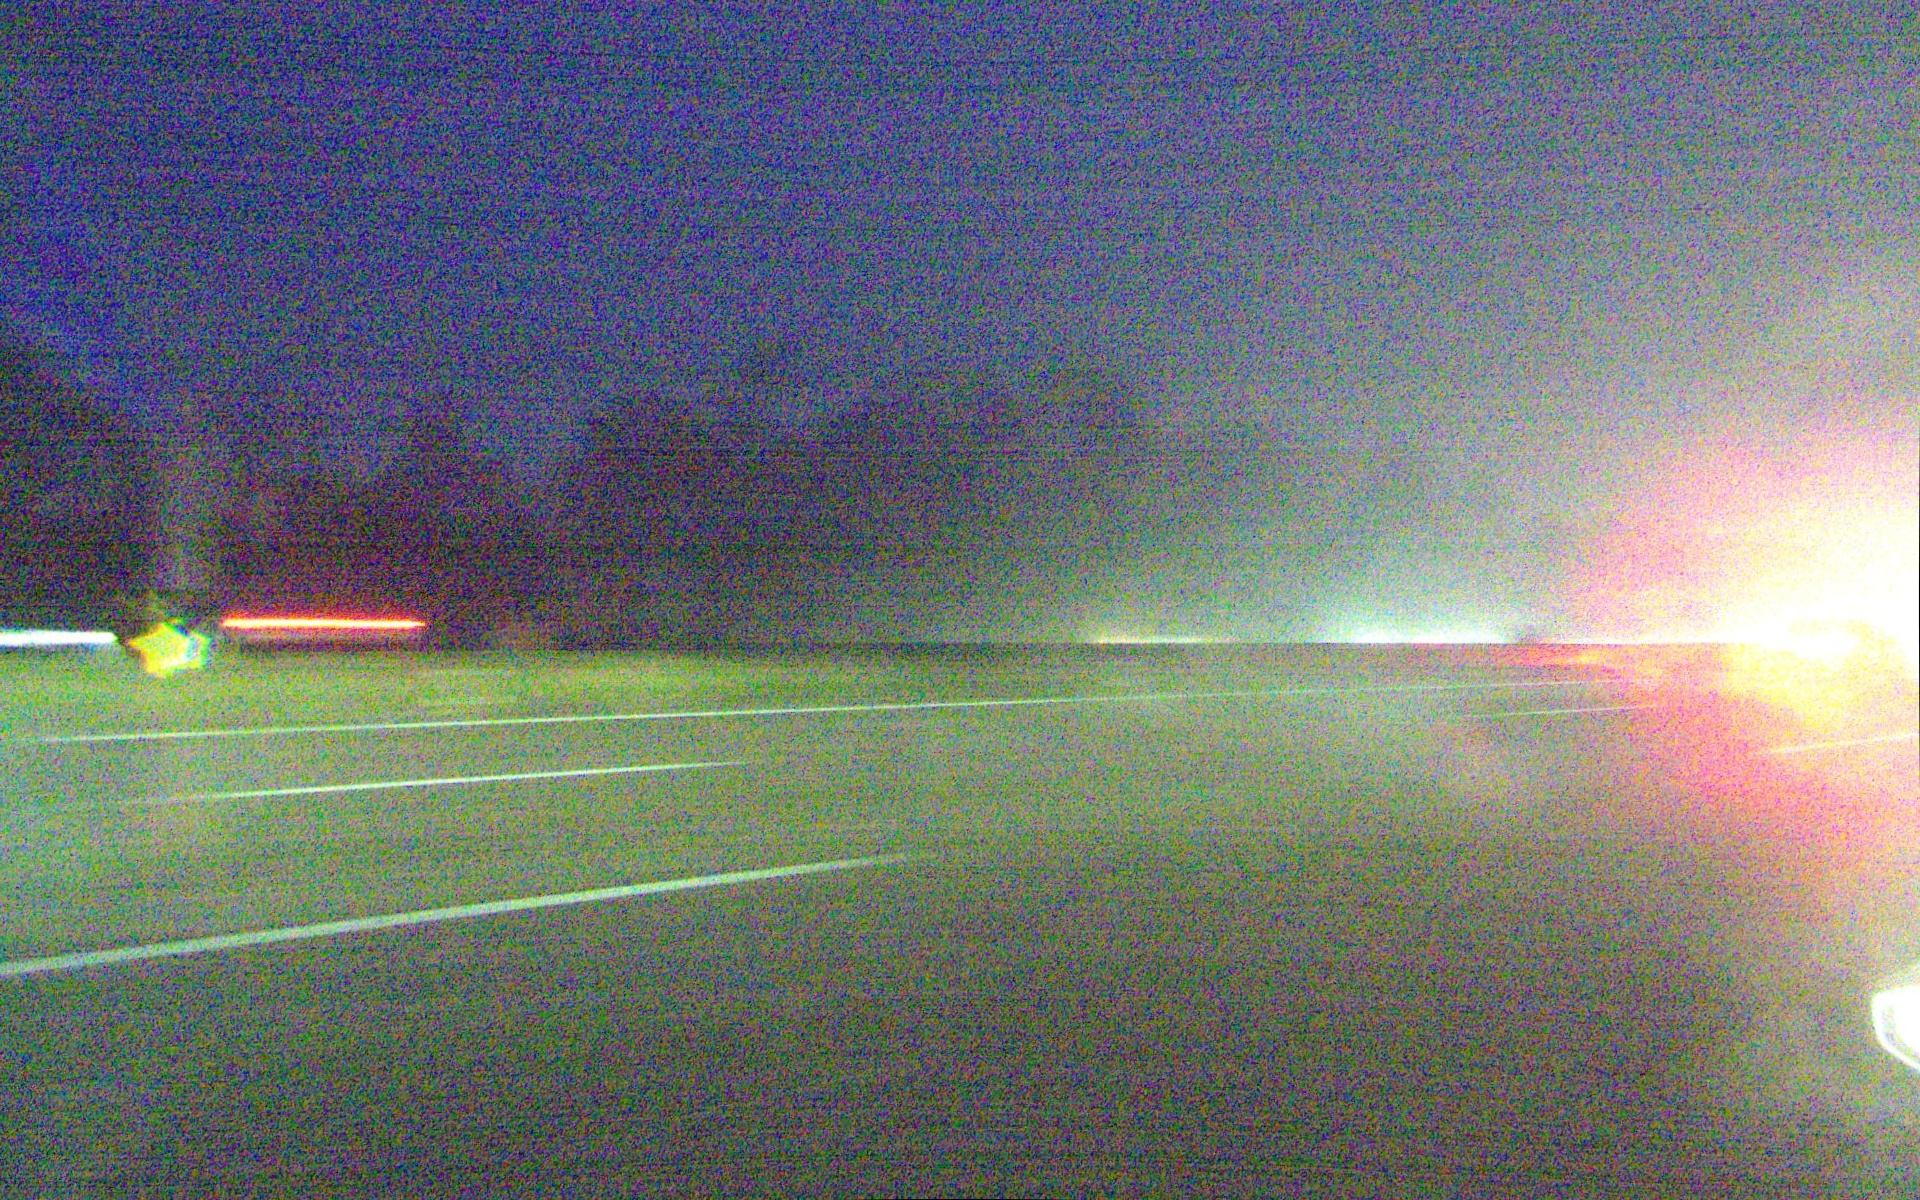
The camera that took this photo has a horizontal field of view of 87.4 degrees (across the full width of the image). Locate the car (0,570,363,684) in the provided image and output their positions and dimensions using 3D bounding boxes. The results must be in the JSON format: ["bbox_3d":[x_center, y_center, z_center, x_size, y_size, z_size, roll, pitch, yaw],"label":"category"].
[{"bbox_3d":[-12.043,0.429,15.913,4.411,1.578,1.870,2,0,-32],"label":"car"}]

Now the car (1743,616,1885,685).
[{"bbox_3d":[22.202,1.281,26.084,3.963,1.617,1.979,2,0,-37],"label":"car"}]

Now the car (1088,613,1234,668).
[{"bbox_3d":[6.325,1.256,31.457,4.411,1.578,1.870,2,0,-32],"label":"car"}]
